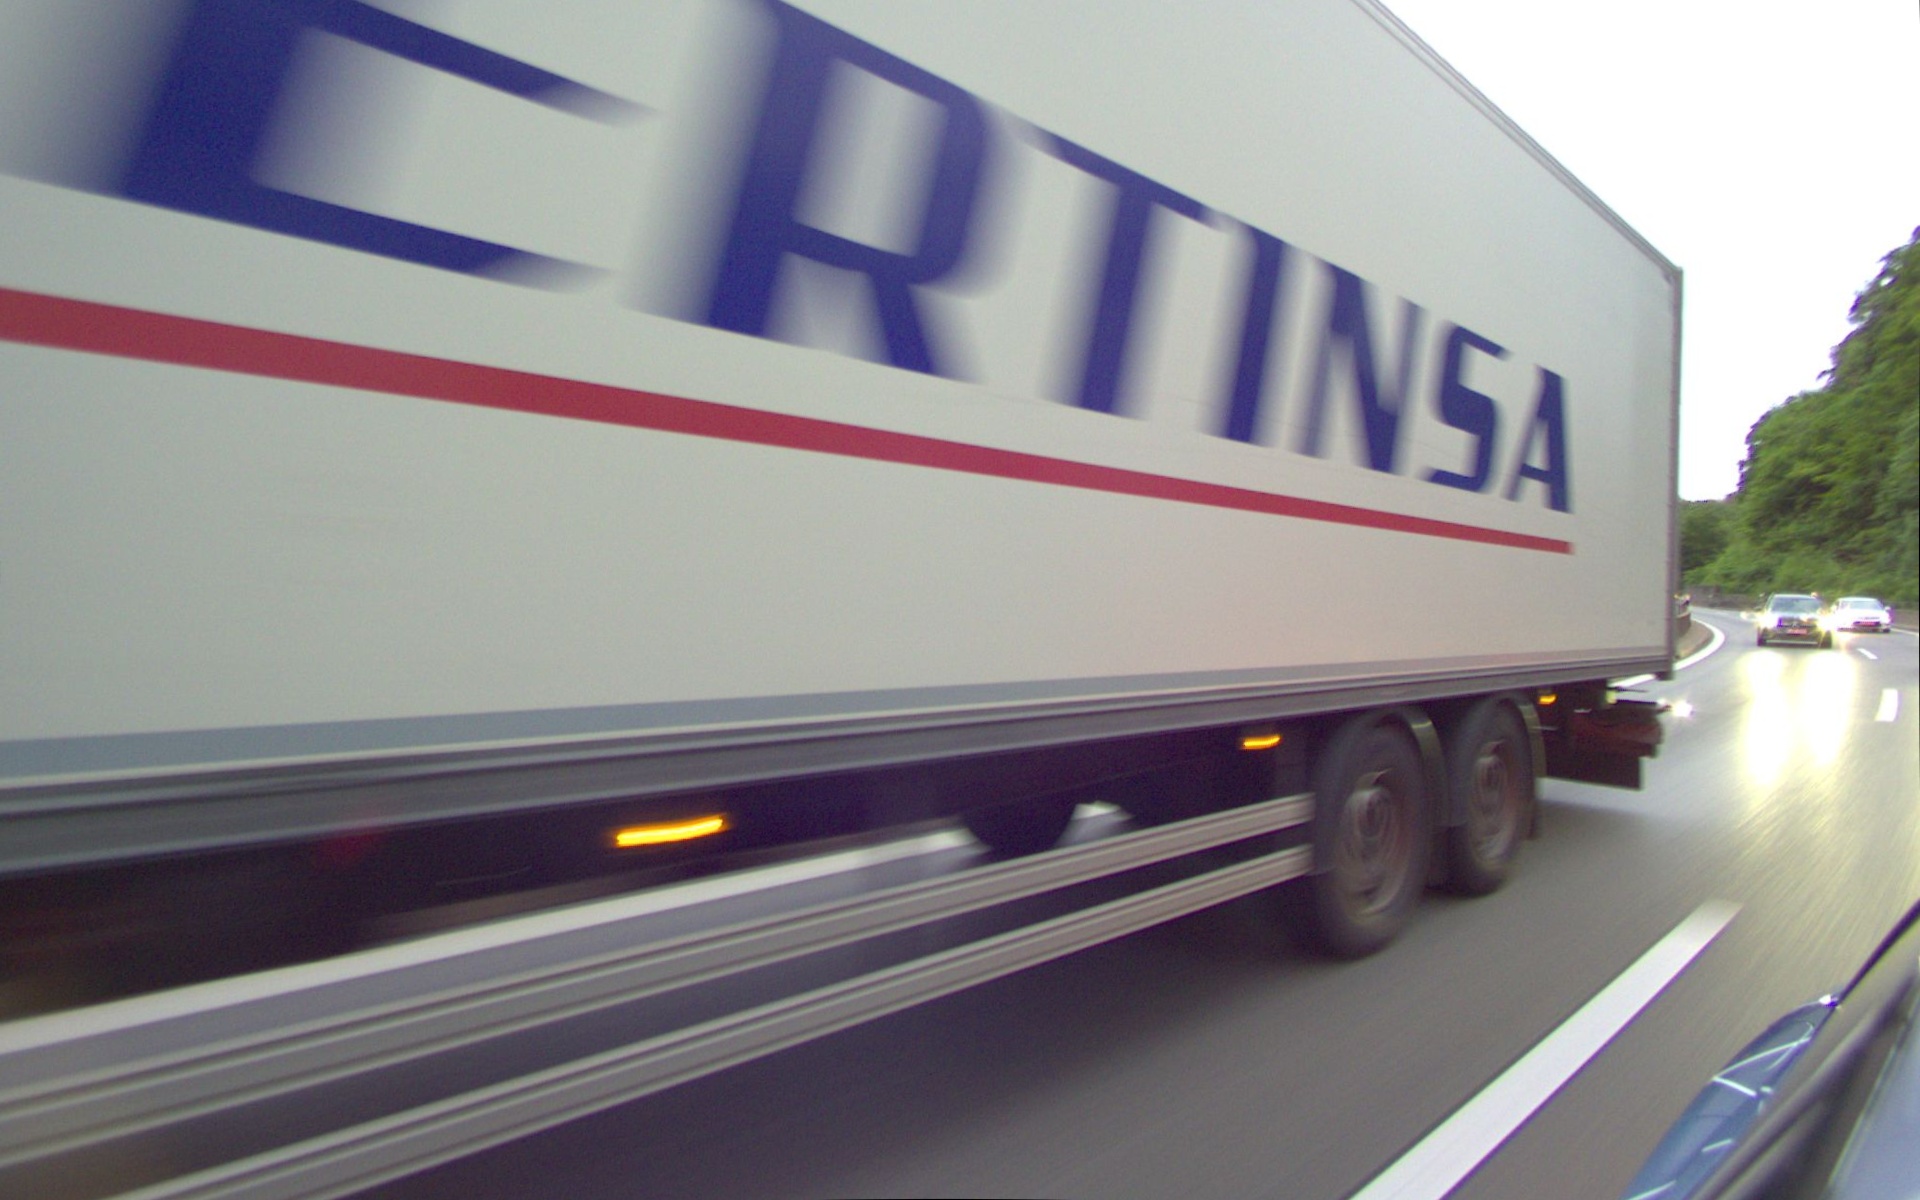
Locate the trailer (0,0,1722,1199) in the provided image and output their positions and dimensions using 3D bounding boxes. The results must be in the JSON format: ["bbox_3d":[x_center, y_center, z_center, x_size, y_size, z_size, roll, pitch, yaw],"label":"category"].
[{"bbox_3d":[-1.051,-0.586,3.429,13.972,4.019,3.102,0,2,-42],"label":"trailer"}]

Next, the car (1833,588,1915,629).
[{"bbox_3d":[39.815,0.321,44.186,1.987,1.526,3.952,5,4,33],"label":"car"}]

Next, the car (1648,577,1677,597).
[{"bbox_3d":[66.913,-1.258,96.439,1.987,1.637,3.953,7,4,33],"label":"car"}]

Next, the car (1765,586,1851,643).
[{"bbox_3d":[27.037,0.422,32.313,1.991,1.660,3.942,1,1,40],"label":"car"}]
